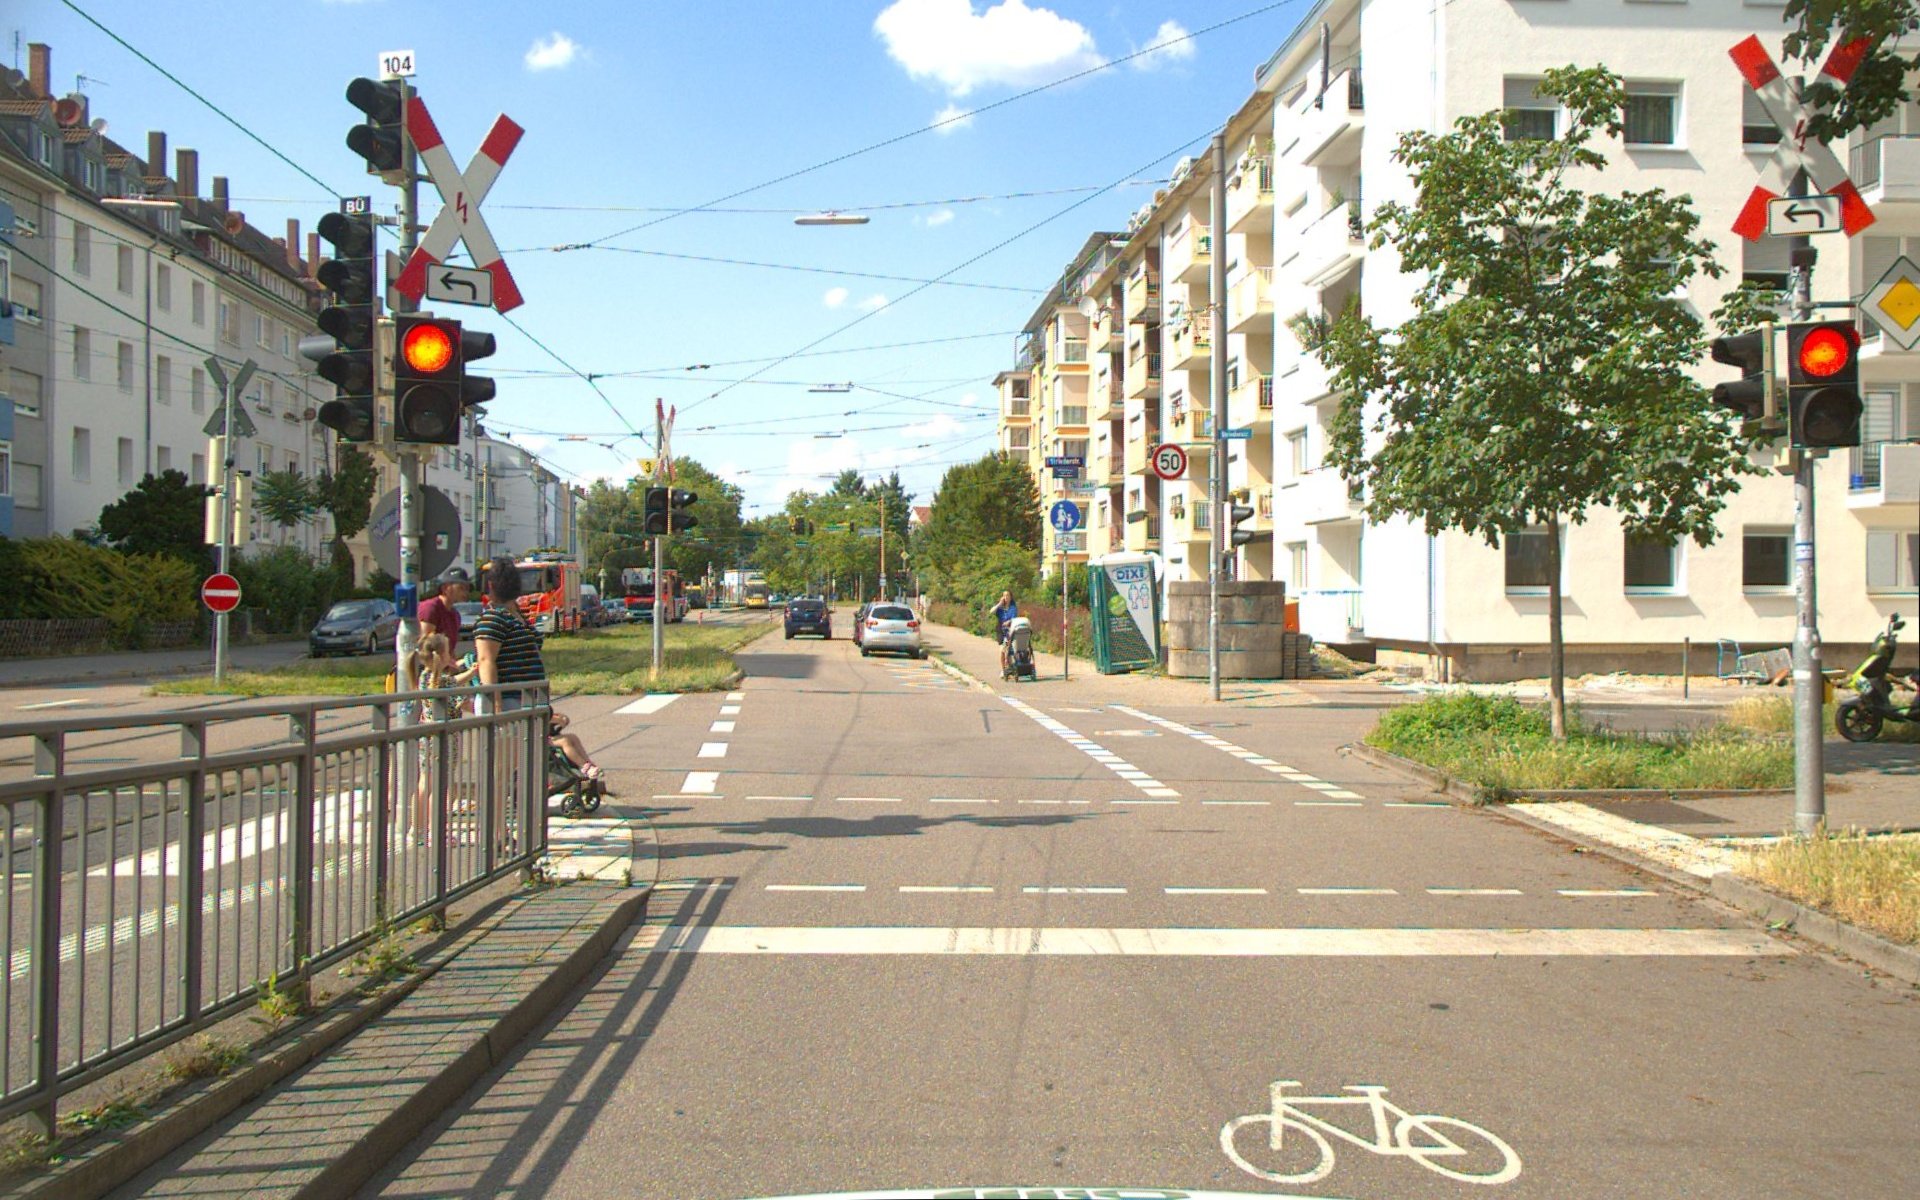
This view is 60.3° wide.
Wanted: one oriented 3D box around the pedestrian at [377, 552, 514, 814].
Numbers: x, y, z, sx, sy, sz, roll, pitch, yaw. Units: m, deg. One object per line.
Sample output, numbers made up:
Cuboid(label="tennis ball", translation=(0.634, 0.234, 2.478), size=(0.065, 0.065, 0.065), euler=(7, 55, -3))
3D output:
Cuboid(label="pedestrian", translation=(-3.421, 0.543, 11.042), size=(0.692, 1.677, 0.636), euler=(2, -1, -5))

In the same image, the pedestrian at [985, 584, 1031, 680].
Cuboid(label="pedestrian", translation=(0.948, 0.627, 32.620), size=(0.687, 1.820, 1.029), euler=(-3, 0, -6))

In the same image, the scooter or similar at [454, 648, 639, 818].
Cuboid(label="scooter or similar", translation=(-2.754, 0.879, 11.111), size=(1.078, 1.074, 0.650), euler=(1, -1, -4))

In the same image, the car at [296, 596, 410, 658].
Cuboid(label="car", translation=(-17.605, 0.761, 48.175), size=(1.954, 1.674, 3.998), euler=(2, 0, -3))

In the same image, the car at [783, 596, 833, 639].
Cuboid(label="car", translation=(-5.823, 0.670, 63.595), size=(1.709, 1.533, 3.997), euler=(2, 0, -3))

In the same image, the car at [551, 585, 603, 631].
Cuboid(label="car", translation=(-21.108, 0.450, 91.350), size=(1.929, 2.412, 5.197), euler=(2, 0, -4))

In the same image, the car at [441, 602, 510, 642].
Cuboid(label="car", translation=(-18.755, 0.850, 64.134), size=(1.733, 1.467, 3.996), euler=(2, 0, -4))

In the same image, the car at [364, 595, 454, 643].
Cuboid(label="car", translation=(-18.002, 0.622, 54.184), size=(1.733, 1.467, 3.998), euler=(2, 0, -3))

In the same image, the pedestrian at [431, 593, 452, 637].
Cuboid(label="pedestrian", translation=(-21.962, 0.639, 70.099), size=(0.692, 1.825, 0.863), euler=(0, 0, -7))

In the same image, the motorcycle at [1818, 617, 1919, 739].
Cuboid(label="motorcycle", translation=(10.219, 0.823, 17.612), size=(0.565, 1.236, 1.826), euler=(-5, 1, -32))

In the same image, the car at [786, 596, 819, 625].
Cuboid(label="car", translation=(-8.765, 0.568, 92.334), size=(1.709, 1.533, 3.997), euler=(2, 0, -4))

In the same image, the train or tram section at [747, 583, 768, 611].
Cuboid(label="train or tram section", translation=(-23.237, -0.373, 189.895), size=(2.215, 3.122, 8.122), euler=(0, 0, -6))

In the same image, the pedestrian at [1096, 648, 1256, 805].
Cuboid(label="pedestrian", translation=(3.169, 1.814, 25.022), size=(1.952, 2.049, 4.001), euler=(1, 0, 1))

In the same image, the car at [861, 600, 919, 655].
Cuboid(label="car", translation=(-2.055, 0.786, 48.222), size=(1.590, 1.490, 3.508), euler=(2, 0, -3))

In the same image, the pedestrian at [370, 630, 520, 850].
Cuboid(label="pedestrian", translation=(-3.009, 0.781, 9.640), size=(0.631, 1.201, 0.789), euler=(0, -1, -35))

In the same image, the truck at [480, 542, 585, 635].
Cuboid(label="truck", translation=(-16.011, -0.384, 62.454), size=(2.546, 3.241, 8.371), euler=(1, 0, -6))

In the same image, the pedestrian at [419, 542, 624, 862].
Cuboid(label="pedestrian", translation=(-2.483, 0.546, 9.364), size=(0.785, 1.697, 0.842), euler=(-1, -1, 44))

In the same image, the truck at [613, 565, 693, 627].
Cuboid(label="truck", translation=(-18.654, -0.180, 101.228), size=(2.611, 3.531, 10.170), euler=(1, 0, 2))

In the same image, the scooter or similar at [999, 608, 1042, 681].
Cuboid(label="scooter or similar", translation=(1.153, 0.848, 31.729), size=(0.649, 1.326, 0.867), euler=(-3, 0, -5))
